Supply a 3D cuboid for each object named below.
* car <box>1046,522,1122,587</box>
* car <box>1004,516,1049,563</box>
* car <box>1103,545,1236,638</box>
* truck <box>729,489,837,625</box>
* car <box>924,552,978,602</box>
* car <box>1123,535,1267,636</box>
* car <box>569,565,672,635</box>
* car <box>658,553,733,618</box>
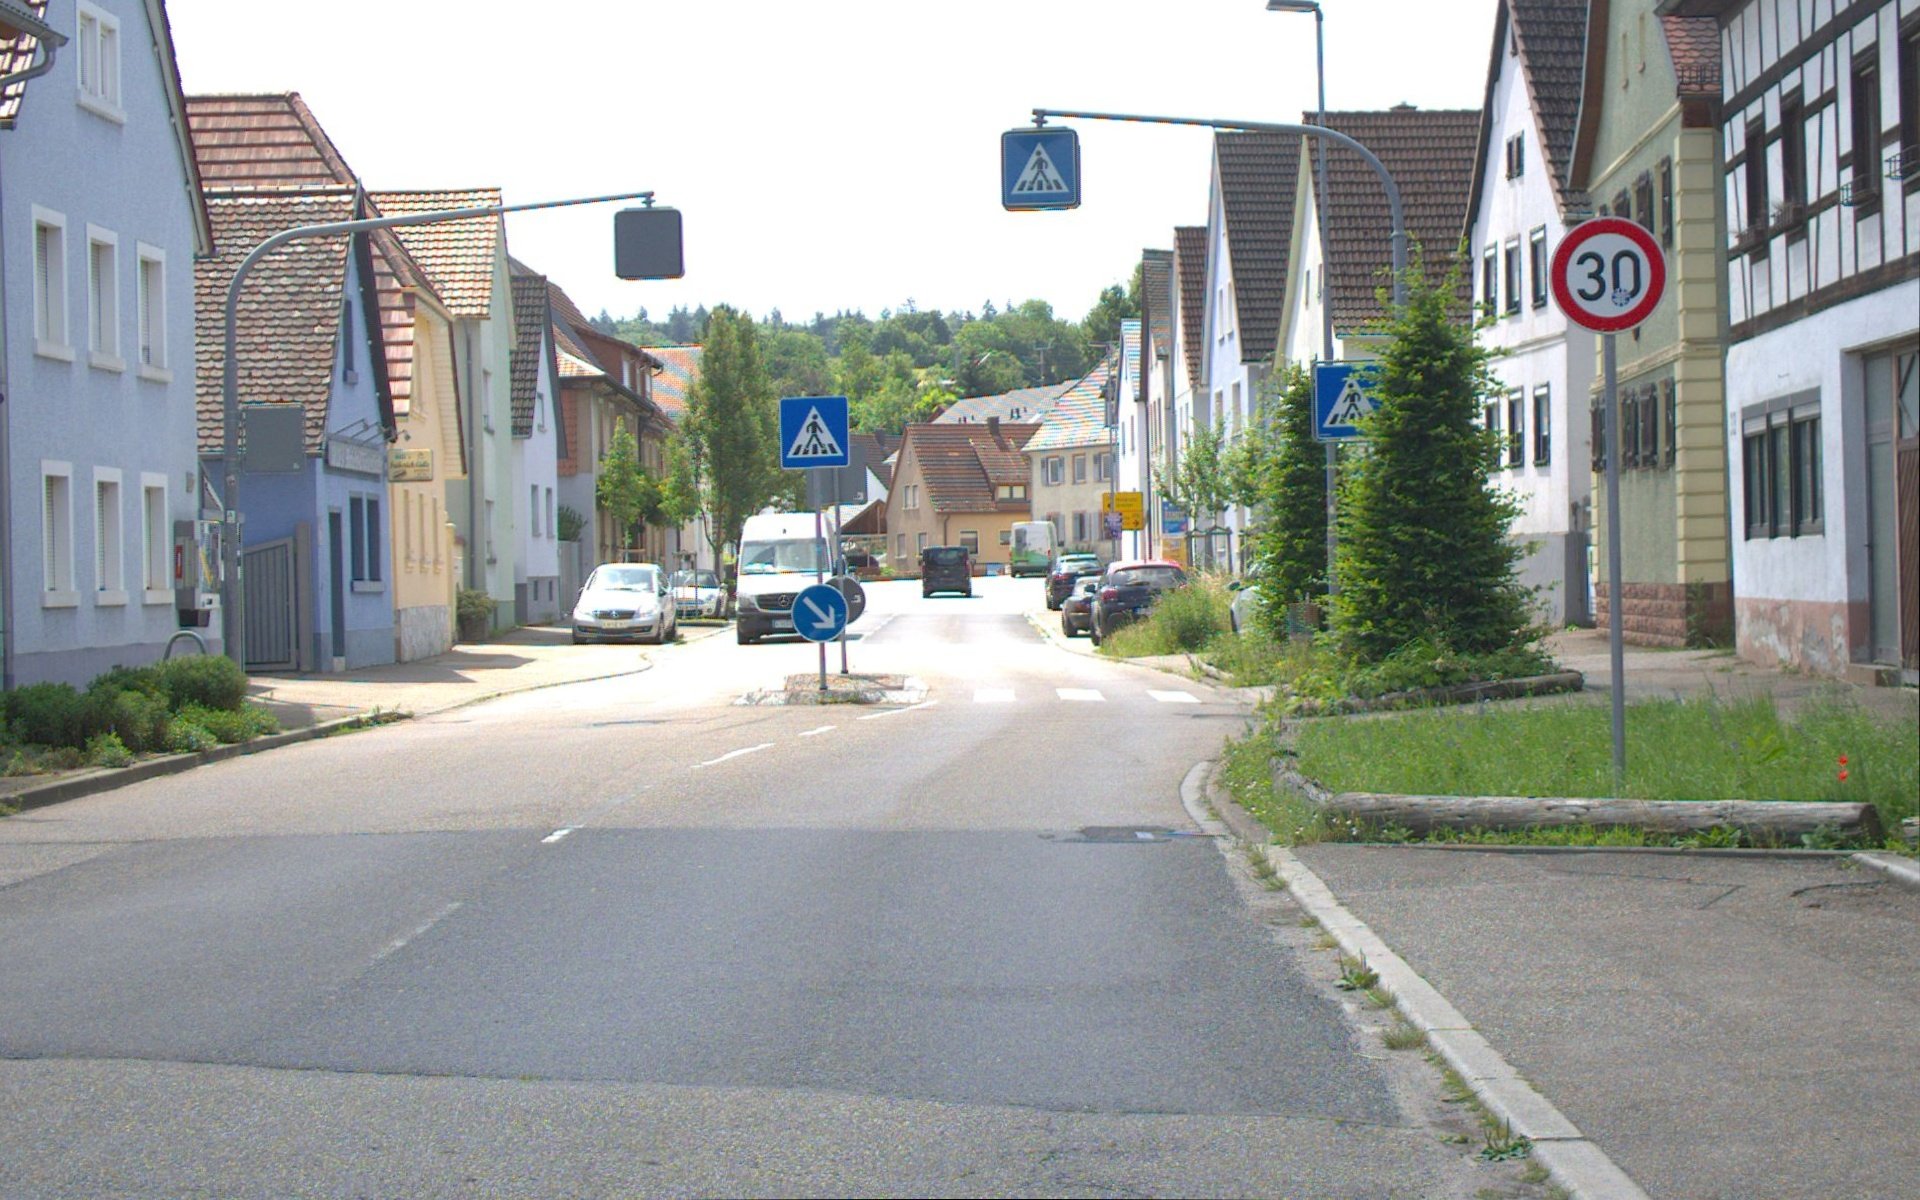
[{"bbox_3d":[3.678,-1.346,102.534,1.993,1.810,4.000,0,-1,-1],"label":"car"},{"bbox_3d":[3.066,-2.772,159.048,1.993,2.007,4.000,0,-1,-1],"label":"car"},{"bbox_3d":[3.551,-0.119,58.950,1.993,1.503,4.000,0,-1,0],"label":"car"},{"bbox_3d":[-3.530,-0.805,69.590,1.993,2.528,6.739,0,-1,-1],"label":"truck"},{"bbox_3d":[-0.369,-0.883,132.204,1.993,1.810,4.000,0,-1,-1],"label":"car"},{"bbox_3d":[3.705,-0.201,54.835,1.993,1.503,4.000,0,-1,0],"label":"car"},{"bbox_3d":[-6.836,0.019,69.228,1.993,1.317,3.709,0,-1,-6],"label":"car"},{"bbox_3d":[-6.895,-0.366,89.934,1.667,1.591,4.000,0,-1,0],"label":"car"}]
